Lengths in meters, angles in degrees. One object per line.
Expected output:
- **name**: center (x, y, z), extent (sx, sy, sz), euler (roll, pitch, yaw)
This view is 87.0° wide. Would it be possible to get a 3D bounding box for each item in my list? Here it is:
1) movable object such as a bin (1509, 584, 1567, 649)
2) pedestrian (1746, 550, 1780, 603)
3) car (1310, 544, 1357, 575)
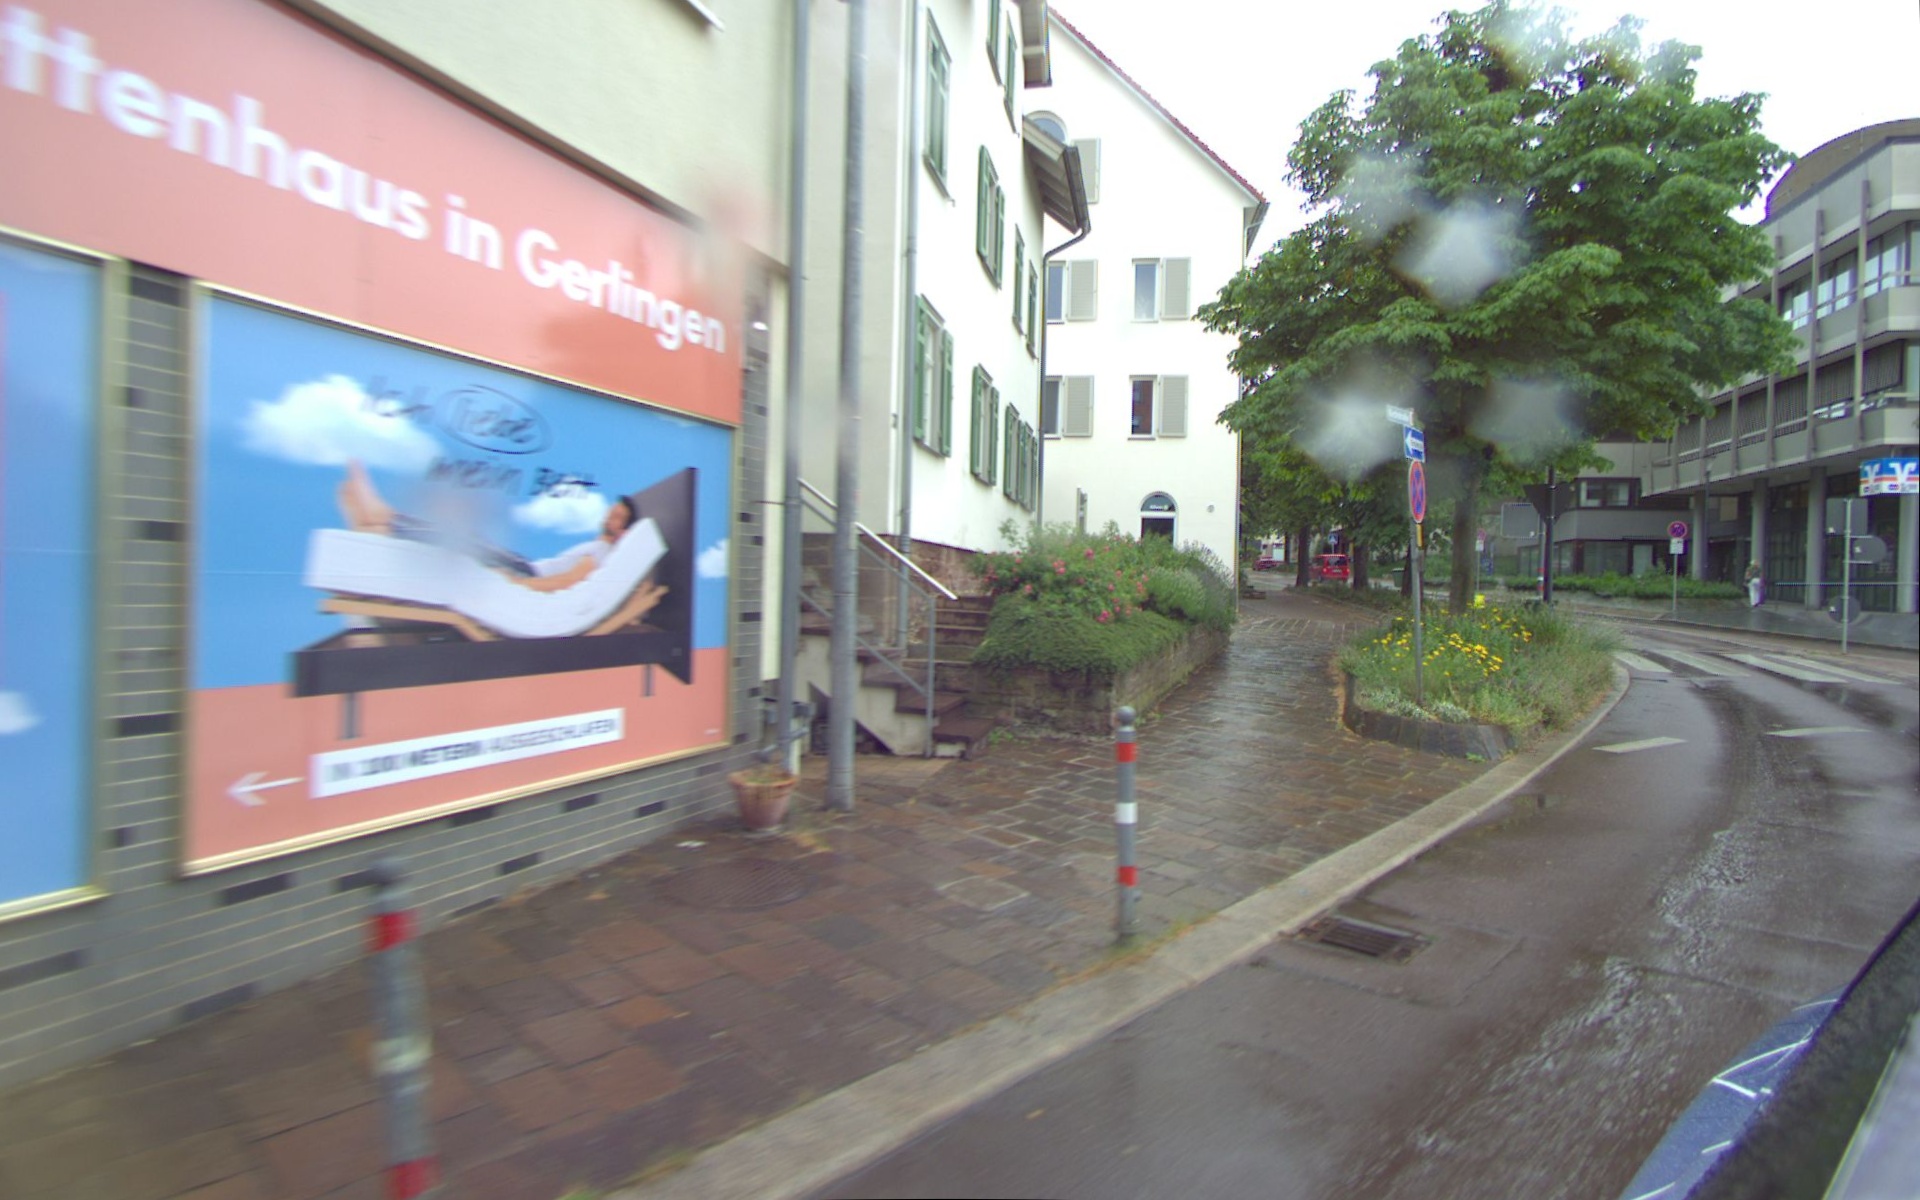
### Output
- **movable object such as a bin**: center (10.663, 0.296, 18.684), extent (0.728, 1.137, 0.648), euler (1, 4, 13)
- **pedestrian**: center (29.478, -0.888, 37.159), extent (0.833, 1.851, 0.805), euler (5, 6, 38)
- **car**: center (23.972, -2.640, 65.118), extent (1.836, 1.852, 4.180), euler (2, 4, 7)
